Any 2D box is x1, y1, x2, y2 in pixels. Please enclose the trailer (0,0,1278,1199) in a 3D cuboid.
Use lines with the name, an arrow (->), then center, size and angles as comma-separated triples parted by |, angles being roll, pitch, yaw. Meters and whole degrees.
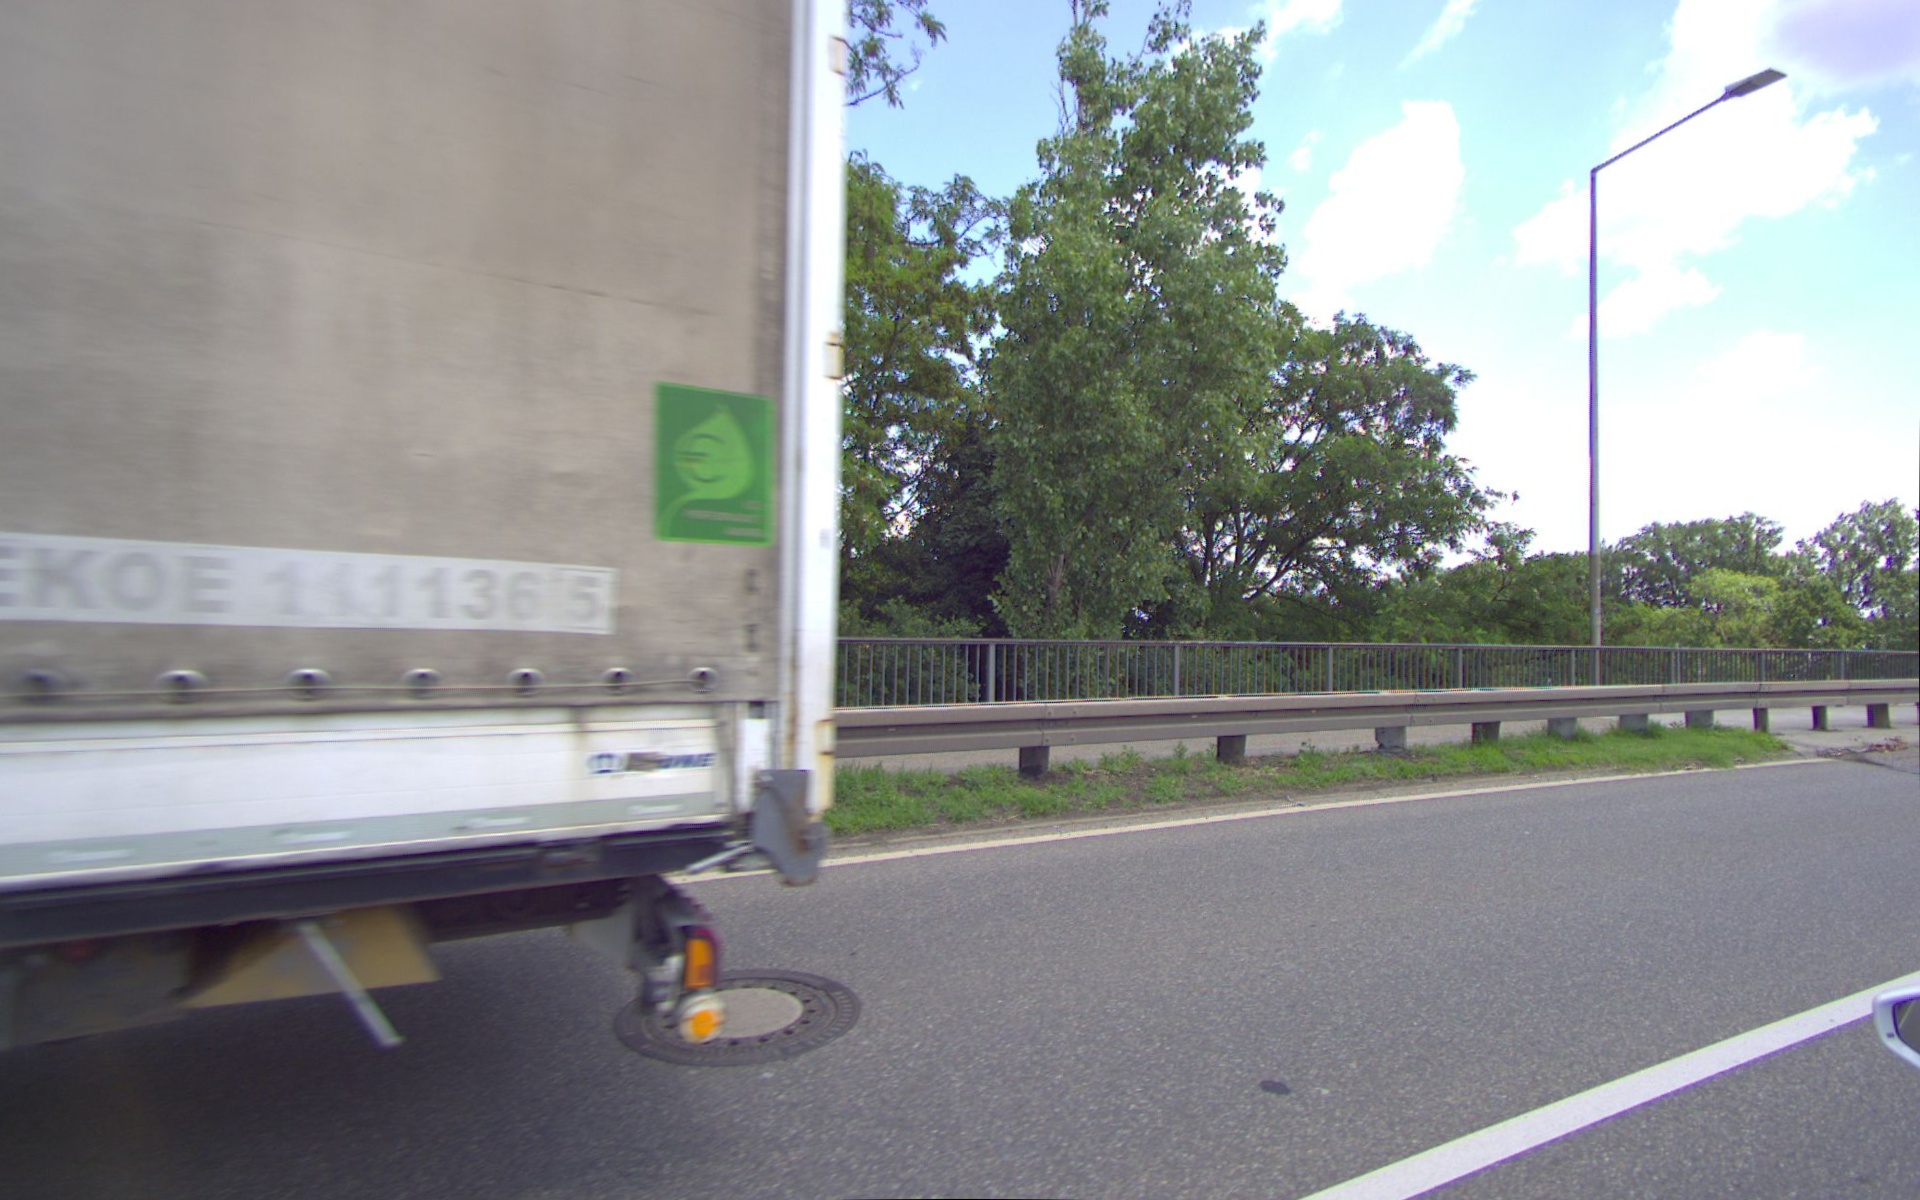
trailer -> -5.741, -0.634, 0.463 | 14.072, 4.337, 2.692 | 2, 1, -32
